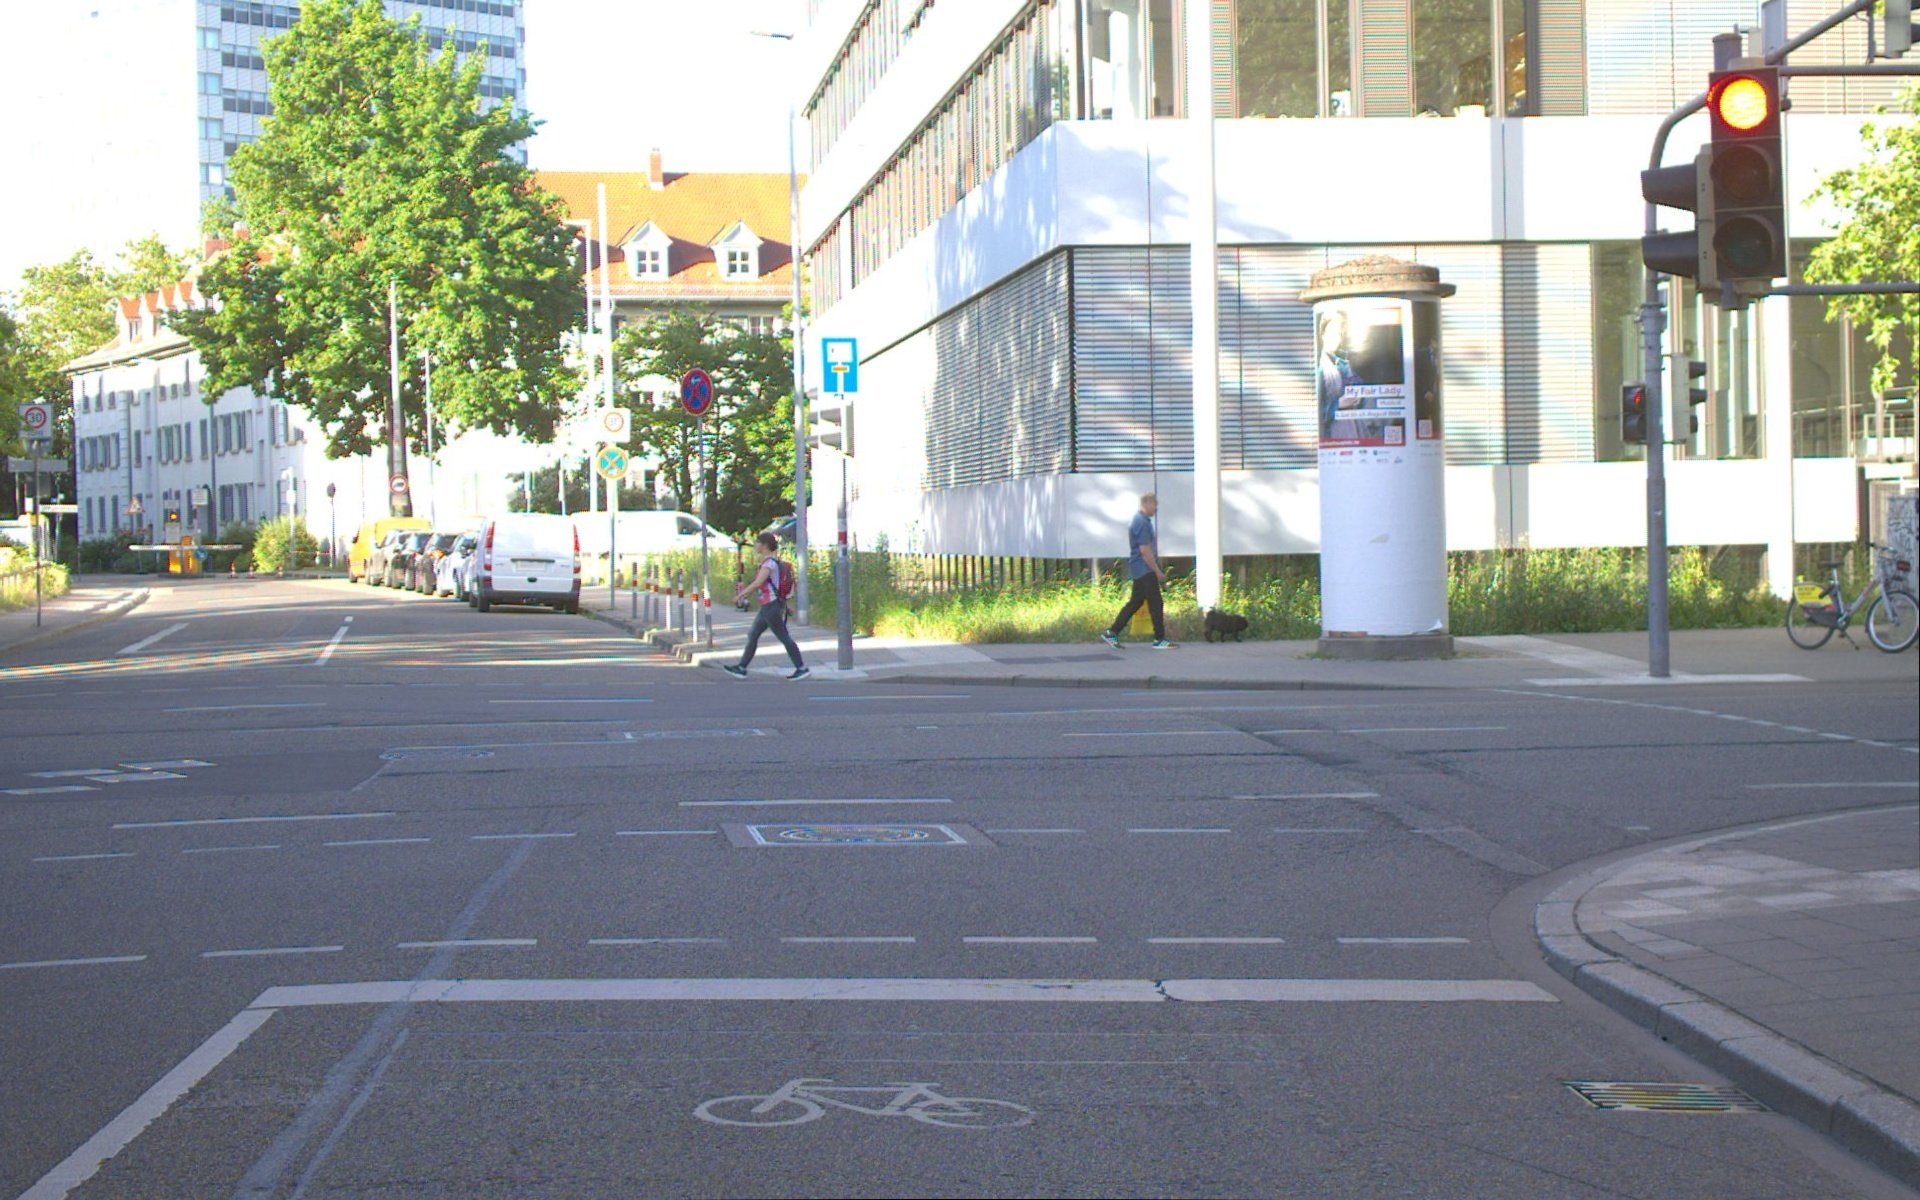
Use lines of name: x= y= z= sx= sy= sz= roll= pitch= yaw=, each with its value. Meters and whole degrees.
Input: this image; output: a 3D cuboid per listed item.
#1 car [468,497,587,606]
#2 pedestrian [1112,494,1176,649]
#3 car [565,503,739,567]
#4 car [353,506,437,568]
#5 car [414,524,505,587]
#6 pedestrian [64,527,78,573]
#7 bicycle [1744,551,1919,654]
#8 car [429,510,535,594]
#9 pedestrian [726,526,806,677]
car: x=-8.171 y=-0.926 z=64.636 sx=2.066 sy=1.956 sz=4.239 roll=-1 pitch=1 yaw=-9
pedestrian: x=2.086 y=-0.334 z=38.988 sx=0.652 sy=1.730 sz=0.812 roll=-1 pitch=1 yaw=6
car: x=-9.224 y=-1.930 z=102.849 sx=4.880 sy=1.865 sz=2.001 roll=0 pitch=0 yaw=-17
car: x=-15.744 y=-1.766 z=95.647 sx=2.100 sy=1.652 sz=4.477 roll=-1 pitch=1 yaw=-11
car: x=-11.830 y=-1.064 z=81.068 sx=1.703 sy=1.419 sz=4.239 roll=-1 pitch=1 yaw=-14
pedestrian: x=-29.648 y=-1.675 z=114.647 sx=0.380 sy=1.529 sz=0.446 roll=-1 pitch=1 yaw=-12
bicycle: x=9.177 y=0.021 z=36.113 sx=0.463 sy=1.045 sz=1.914 roll=-2 pitch=2 yaw=-42
car: x=-10.652 y=-1.090 z=76.458 sx=1.946 sy=1.789 sz=4.239 roll=-1 pitch=1 yaw=-13
pedestrian: x=-2.077 y=0.014 z=36.818 sx=0.712 sy=1.594 sz=0.617 roll=-1 pitch=1 yaw=9
